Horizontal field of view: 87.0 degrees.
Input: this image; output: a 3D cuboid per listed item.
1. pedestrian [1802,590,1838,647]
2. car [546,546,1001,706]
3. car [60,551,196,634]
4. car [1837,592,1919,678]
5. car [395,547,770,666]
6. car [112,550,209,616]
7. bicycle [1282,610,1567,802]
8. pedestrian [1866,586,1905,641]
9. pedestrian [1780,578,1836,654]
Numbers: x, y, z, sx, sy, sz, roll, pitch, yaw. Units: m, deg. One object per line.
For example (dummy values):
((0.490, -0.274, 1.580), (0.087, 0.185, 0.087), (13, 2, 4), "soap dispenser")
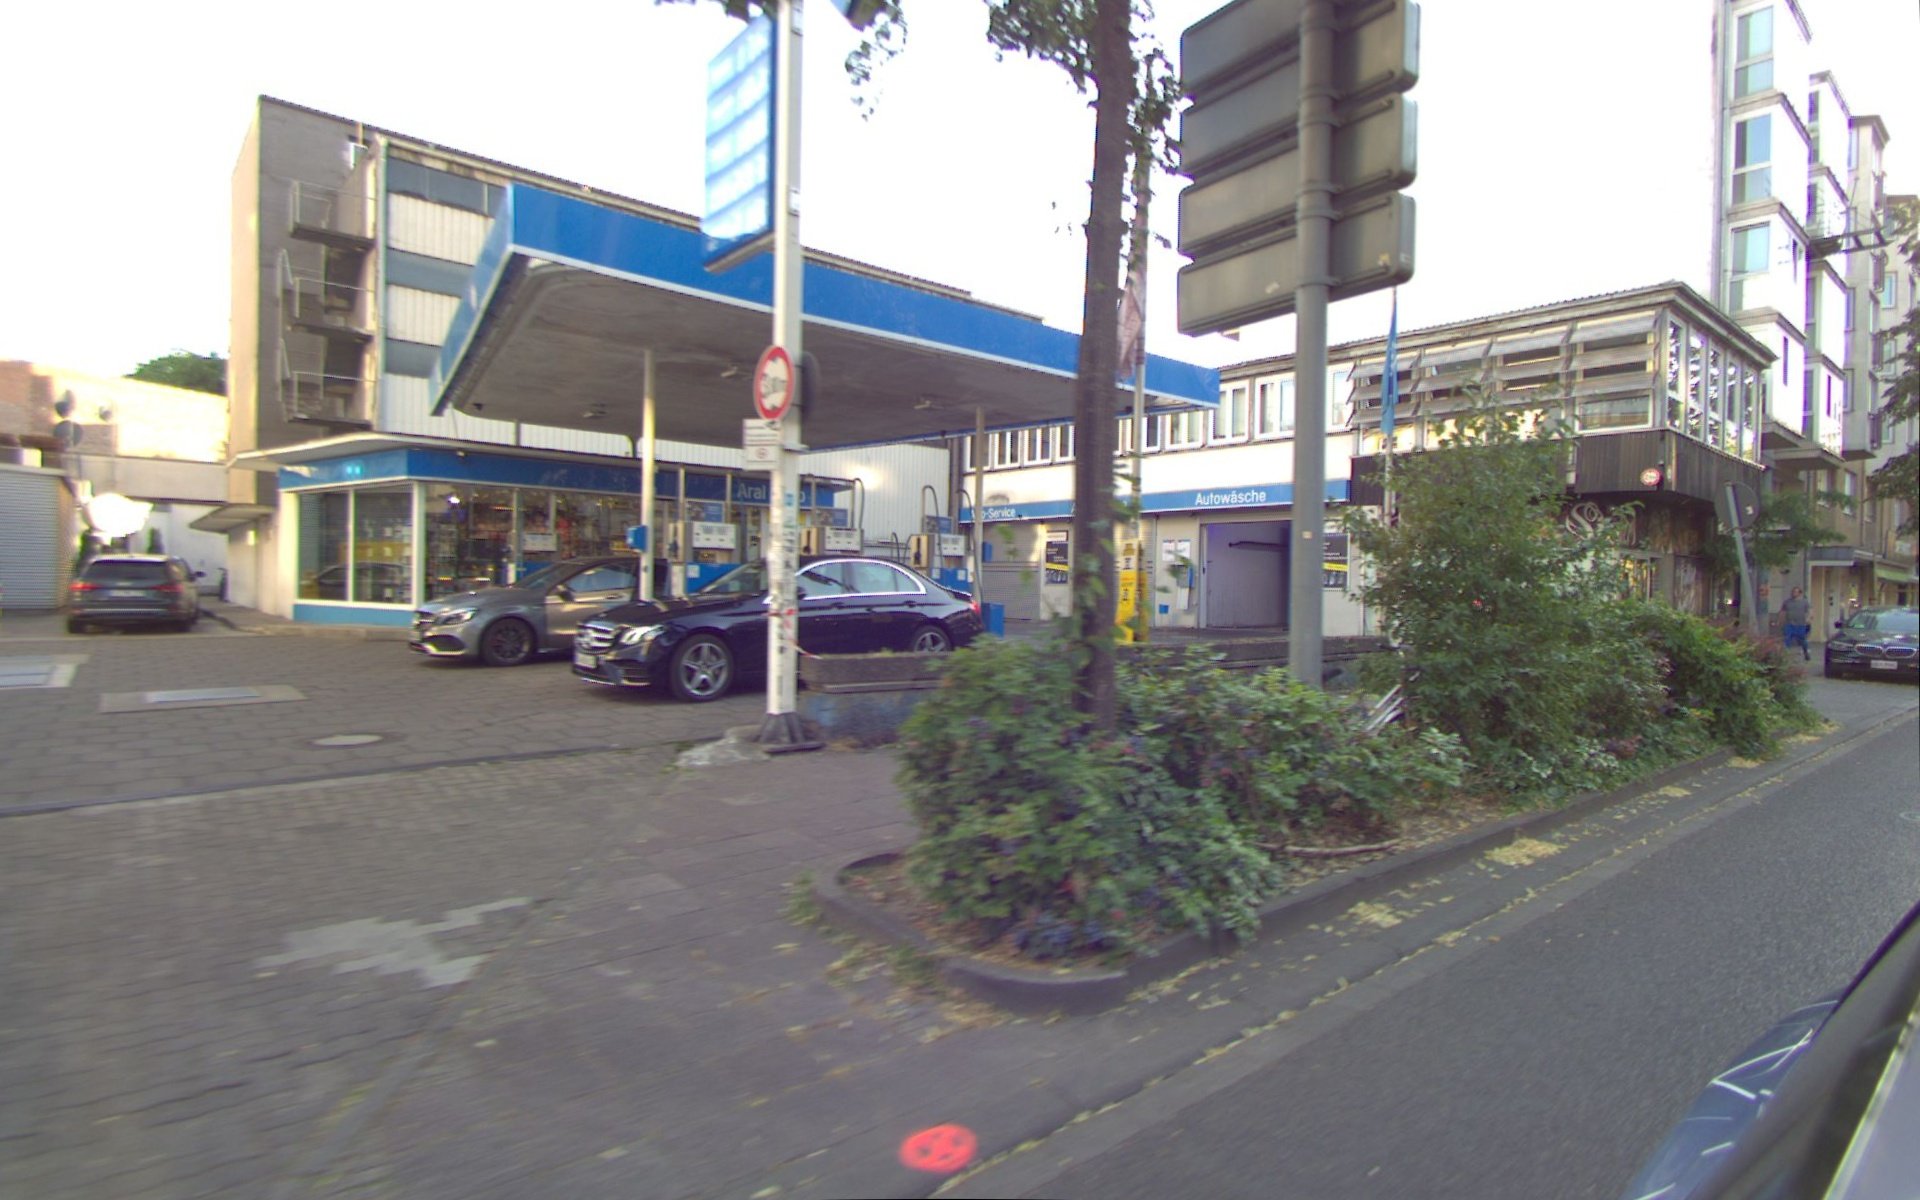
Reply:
((24.318, 0.514, 28.613), (0.759, 1.544, 0.612), (1, 1, -40), "pedestrian")
((-1.896, 0.160, 11.377), (4.823, 1.448, 1.738), (-1, 3, -41), "car")
((-16.126, -0.206, 19.628), (1.869, 1.419, 4.231), (0, 2, -40), "car")
((19.101, 0.653, 20.199), (4.767, 1.506, 1.832), (0, 3, -43), "car")
((-5.173, 0.009, 14.284), (4.676, 1.419, 1.714), (-1, 3, -41), "car")
((-19.238, -0.439, 24.292), (1.701, 1.461, 3.899), (0, 2, -40), "car")
((3.036, 0.690, 6.653), (1.646, 1.157, 0.485), (2, 2, -10), "bicycle")
((29.843, 0.415, 32.630), (0.688, 1.725, 0.789), (1, 2, -40), "pedestrian")
((20.857, 0.380, 24.880), (0.979, 1.816, 0.857), (1, 1, -41), "pedestrian")
